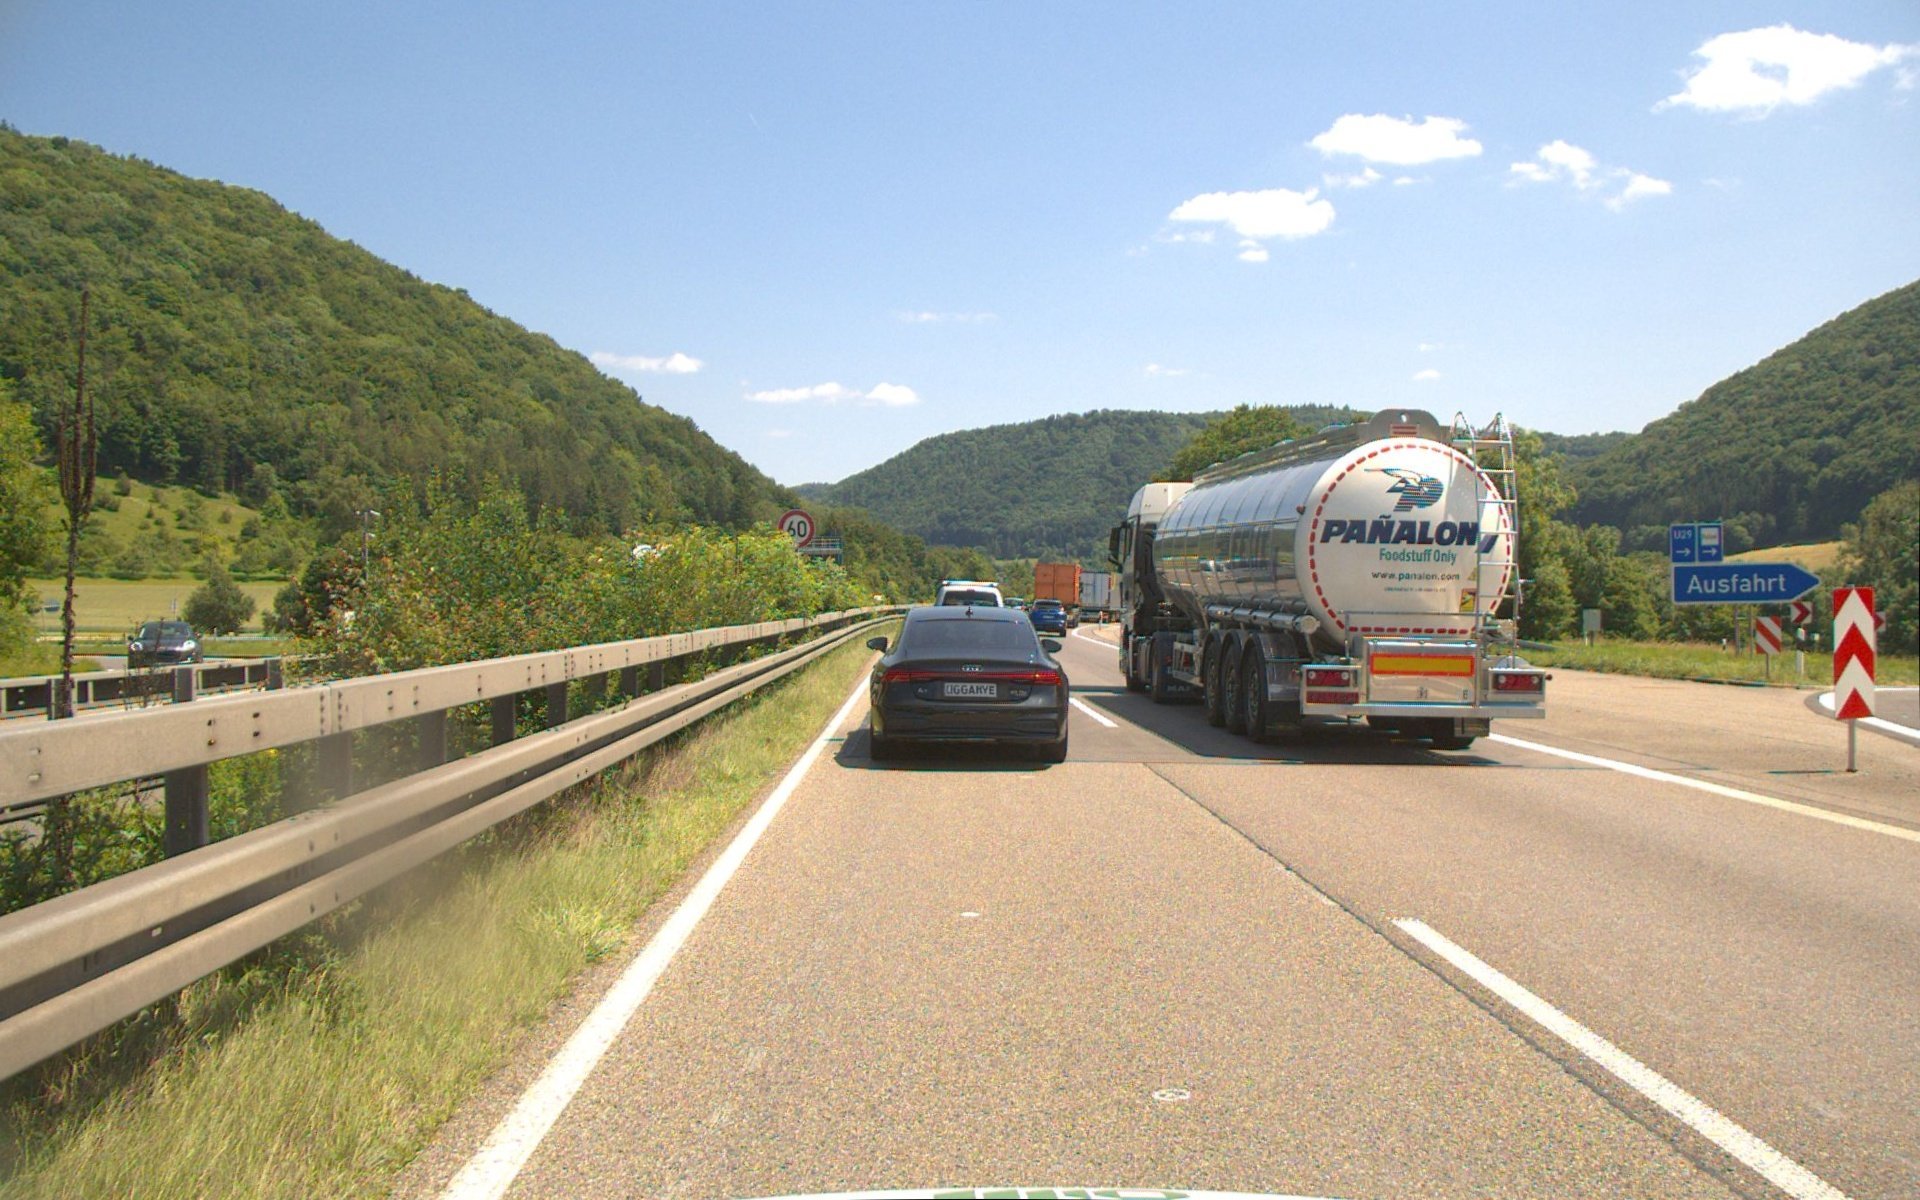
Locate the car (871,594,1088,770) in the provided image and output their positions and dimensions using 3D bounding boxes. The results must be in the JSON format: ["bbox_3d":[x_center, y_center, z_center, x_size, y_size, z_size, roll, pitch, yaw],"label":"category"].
[{"bbox_3d":[0.068,0.707,16.400,1.813,1.514,4.079,0,0,-4],"label":"car"}]

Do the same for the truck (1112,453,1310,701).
[{"bbox_3d":[4.110,-0.355,28.114,2.460,3.824,5.244,0,0,-1],"label":"truck"}]

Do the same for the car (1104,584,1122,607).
[{"bbox_3d":[19.965,-0.534,215.595,1.952,2.986,4.899,0,0,1],"label":"car"}]

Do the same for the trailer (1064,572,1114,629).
[{"bbox_3d":[10.457,0.061,135.043,2.954,4.459,10.982,0,0,-1],"label":"trailer"}]

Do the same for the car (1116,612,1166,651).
[{"bbox_3d":[7.541,1.285,69.340,1.711,1.557,4.000,-1,0,1],"label":"car"}]

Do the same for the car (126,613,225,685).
[{"bbox_3d":[-21.841,1.327,46.199,1.778,1.870,3.984,0,0,-15],"label":"car"}]

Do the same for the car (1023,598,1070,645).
[{"bbox_3d":[3.929,0.968,75.957,1.952,2.038,4.000,-1,0,0],"label":"car"}]

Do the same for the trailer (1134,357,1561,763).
[{"bbox_3d":[4.275,-0.372,21.482,2.487,3.801,11.888,0,0,-1],"label":"trailer"}]

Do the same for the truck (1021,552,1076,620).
[{"bbox_3d":[5.564,-0.852,106.571,2.760,4.073,14.954,0,0,0],"label":"truck"}]

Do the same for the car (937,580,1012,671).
[{"bbox_3d":[0.270,0.518,35.844,1.544,1.865,3.999,0,0,-1],"label":"car"}]

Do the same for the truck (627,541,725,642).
[{"bbox_3d":[-12.024,-0.338,71.037,2.376,3.967,12.278,0,0,-1],"label":"truck"}]
